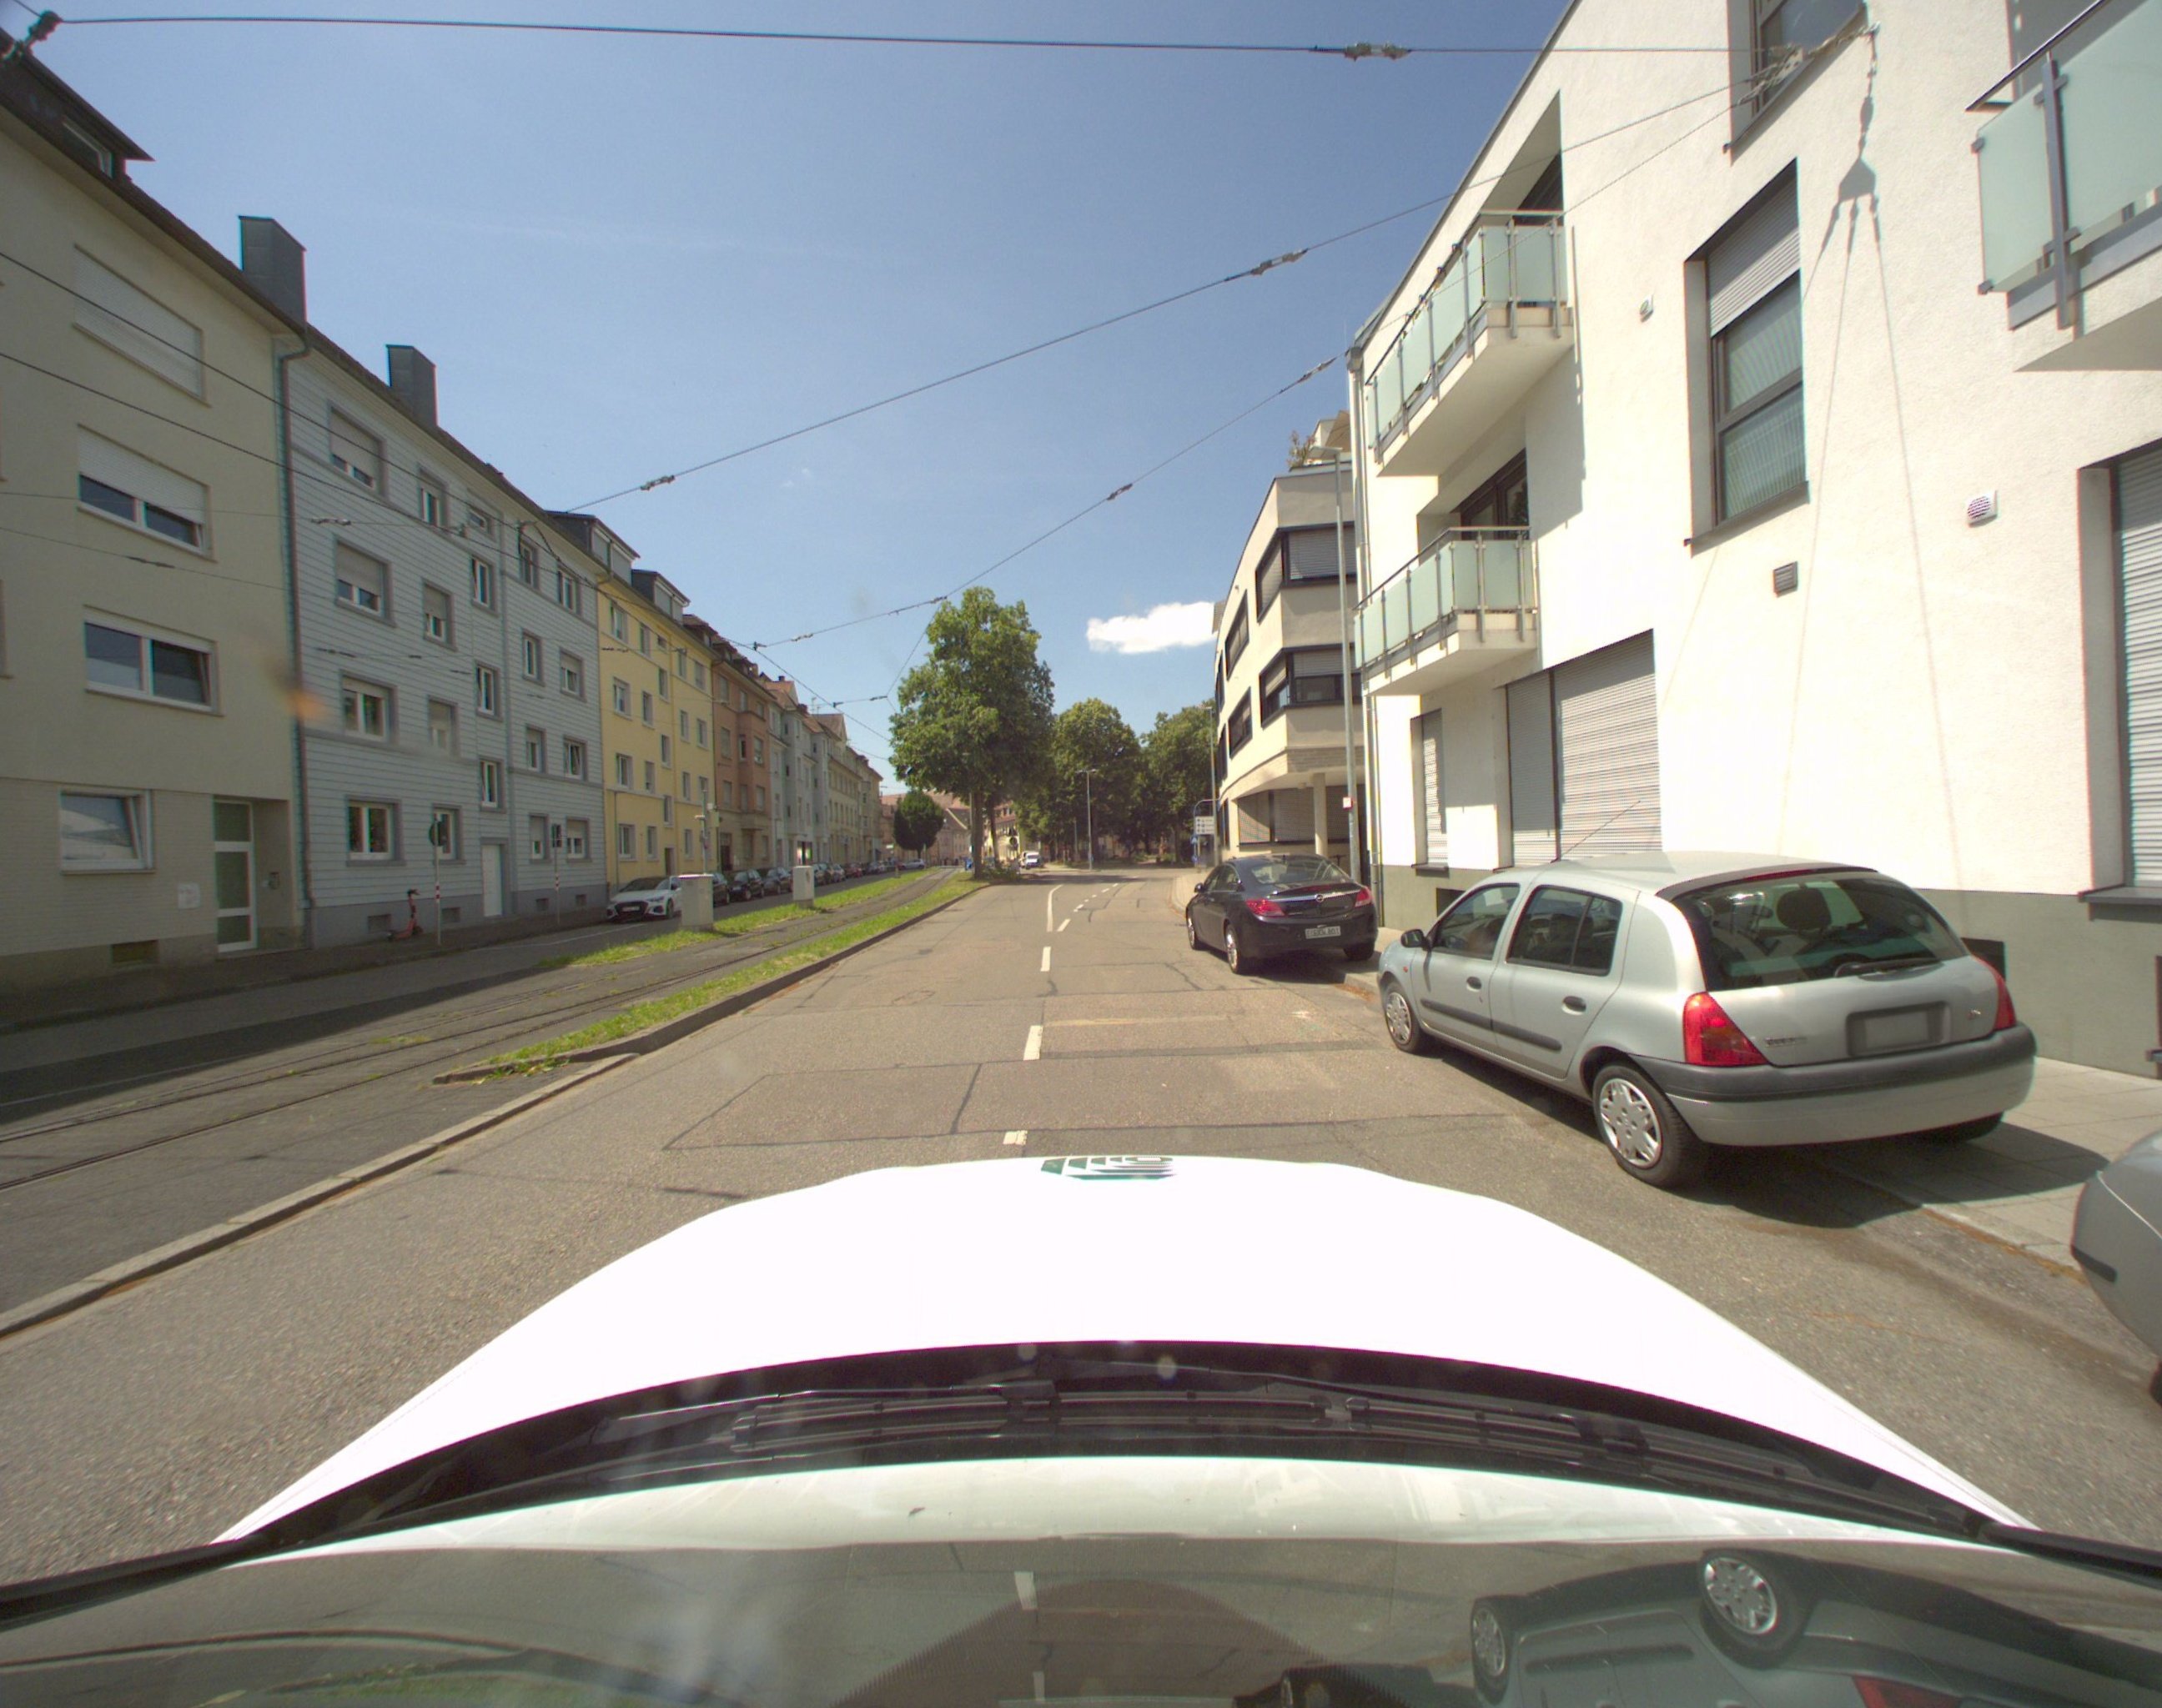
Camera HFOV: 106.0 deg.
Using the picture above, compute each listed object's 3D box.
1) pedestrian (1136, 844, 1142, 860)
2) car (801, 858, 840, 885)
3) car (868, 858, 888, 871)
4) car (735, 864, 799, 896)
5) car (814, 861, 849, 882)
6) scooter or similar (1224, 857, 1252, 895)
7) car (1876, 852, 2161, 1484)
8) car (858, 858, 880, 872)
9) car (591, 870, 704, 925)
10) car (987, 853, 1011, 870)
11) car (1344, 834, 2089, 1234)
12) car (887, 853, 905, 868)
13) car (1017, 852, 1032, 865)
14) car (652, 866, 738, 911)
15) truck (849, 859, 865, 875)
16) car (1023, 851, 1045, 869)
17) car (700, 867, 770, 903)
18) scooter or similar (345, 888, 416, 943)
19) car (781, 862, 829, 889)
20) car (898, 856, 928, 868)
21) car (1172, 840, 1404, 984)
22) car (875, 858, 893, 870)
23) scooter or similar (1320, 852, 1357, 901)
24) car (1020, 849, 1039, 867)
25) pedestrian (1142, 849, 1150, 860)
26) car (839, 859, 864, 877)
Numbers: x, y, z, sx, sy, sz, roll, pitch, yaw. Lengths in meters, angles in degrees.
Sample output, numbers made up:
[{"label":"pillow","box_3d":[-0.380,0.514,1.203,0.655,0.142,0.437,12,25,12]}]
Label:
[{"label":"pedestrian","box_3d":[7.144,-0.260,100.312,0.743,1.910,0.686,-1,1,8]},{"label":"car","box_3d":[-18.574,1.227,58.267,1.835,1.685,4.131,-4,1,-8]},{"label":"car","box_3d":[-23.367,1.169,93.812,1.685,1.390,3.847,-4,1,-8]},{"label":"car","box_3d":[-16.491,1.330,43.027,1.925,1.398,4.852,-4,1,-6]},{"label":"car","box_3d":[-19.211,1.326,62.926,1.806,1.356,4.239,-4,1,-8]},{"label":"scooter or similar","box_3d":[5.407,0.739,28.151,0.580,1.260,1.366,-4,0,-2]},{"label":"car","box_3d":[3.320,0.704,0.482,1.720,1.433,4.044,-6,0,2]},{"label":"car","box_3d":[-22.921,1.203,88.166,1.685,1.360,3.847,-4,1,-8]},{"label":"car","box_3d":[-14.416,1.375,27.385,1.928,1.451,4.362,-4,1,-9]},{"label":"car","box_3d":[-7.562,0.686,74.632,1.903,1.534,4.229,-1,0,-10]},{"label":"car","box_3d":[3.174,0.726,5.126,1.589,1.433,3.703,-6,0,-2]},{"label":"car","box_3d":[-25.575,0.815,112.571,1.852,1.911,4.759,-4,1,-7]},{"label":"car","box_3d":[-7.228,0.564,104.093,1.781,1.624,4.476,-1,0,-6]},{"label":"car","box_3d":[-15.388,1.309,32.710,1.927,1.505,4.312,-3,1,-9]},{"label":"truck","box_3d":[-21.309,1.226,77.491,1.125,1.494,2.587,-4,1,-9]},{"label":"car","box_3d":[-5.141,0.593,88.164,1.992,1.826,4.410,-1,0,-8]},{"label":"car","box_3d":[-15.837,1.368,37.478,1.829,1.400,4.132,-3,1,-7]},{"label":"scooter or similar","box_3d":[-16.657,1.439,19.398,0.637,1.223,1.317,-1,-1,-8]},{"label":"car","box_3d":[-17.749,1.331,52.652,1.926,1.490,4.850,-4,1,-7]},{"label":"car","box_3d":[-24.397,1.183,118.568,4.206,1.505,1.996,-4,1,-12]},{"label":"car","box_3d":[2.682,0.696,11.778,1.796,1.509,4.540,-6,0,-4]},{"label":"car","box_3d":[-23.897,1.172,98.642,1.685,1.277,3.280,-4,1,-8]},{"label":"scooter or similar","box_3d":[6.556,0.550,20.807,0.421,1.211,1.313,-2,0,-4]},{"label":"car","box_3d":[-6.180,0.427,96.725,2.047,2.002,5.238,-1,0,-6]},{"label":"pedestrian","box_3d":[7.990,0.043,100.190,0.901,1.252,1.151,-1,2,8]},{"label":"car","box_3d":[-20.529,1.250,73.096,1.570,1.451,3.616,-4,1,-8]}]
